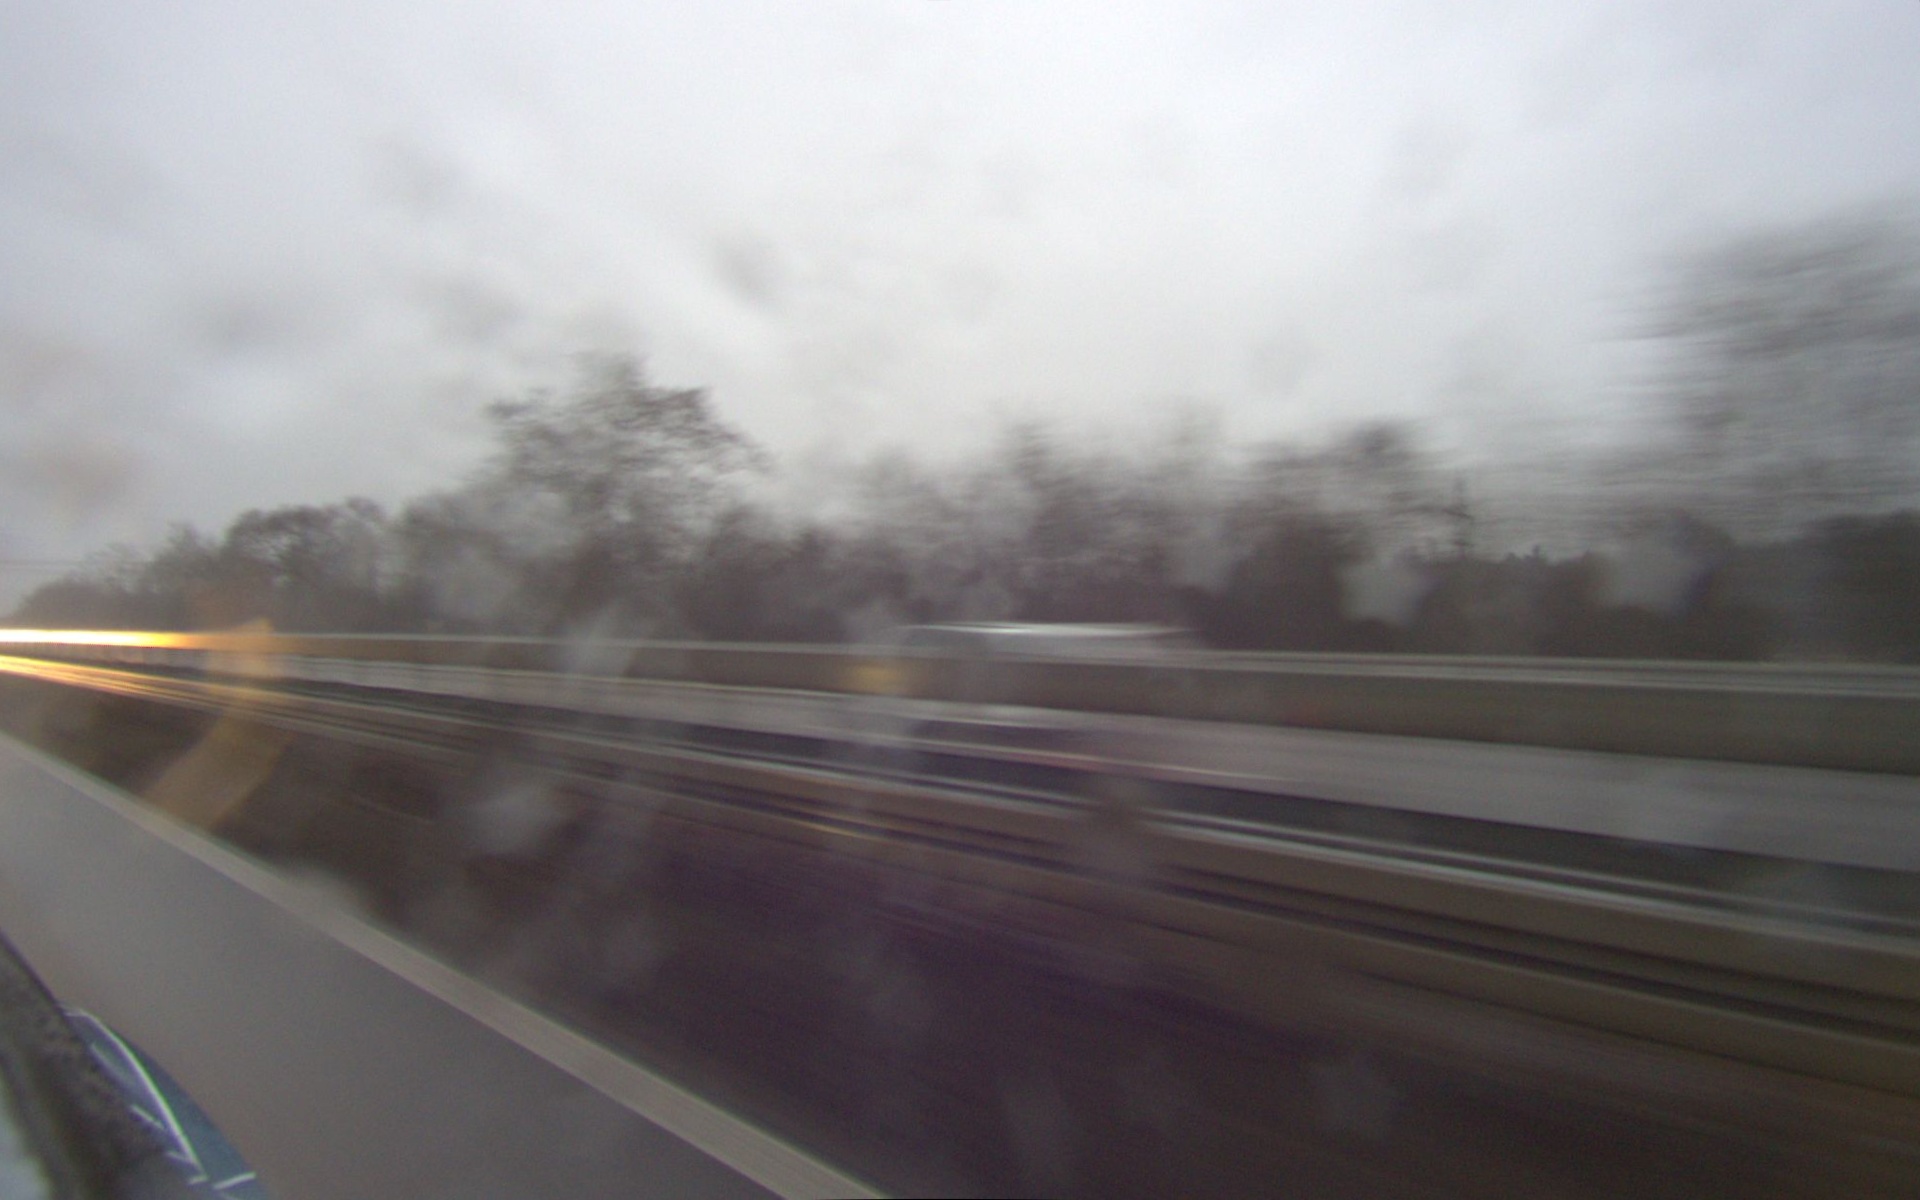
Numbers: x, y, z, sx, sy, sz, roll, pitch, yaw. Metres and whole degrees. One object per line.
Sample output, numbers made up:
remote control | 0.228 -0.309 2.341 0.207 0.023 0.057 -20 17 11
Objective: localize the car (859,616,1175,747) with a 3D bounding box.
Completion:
car | 0.657 0.983 13.550 3.997 1.434 1.699 -1 1 41
